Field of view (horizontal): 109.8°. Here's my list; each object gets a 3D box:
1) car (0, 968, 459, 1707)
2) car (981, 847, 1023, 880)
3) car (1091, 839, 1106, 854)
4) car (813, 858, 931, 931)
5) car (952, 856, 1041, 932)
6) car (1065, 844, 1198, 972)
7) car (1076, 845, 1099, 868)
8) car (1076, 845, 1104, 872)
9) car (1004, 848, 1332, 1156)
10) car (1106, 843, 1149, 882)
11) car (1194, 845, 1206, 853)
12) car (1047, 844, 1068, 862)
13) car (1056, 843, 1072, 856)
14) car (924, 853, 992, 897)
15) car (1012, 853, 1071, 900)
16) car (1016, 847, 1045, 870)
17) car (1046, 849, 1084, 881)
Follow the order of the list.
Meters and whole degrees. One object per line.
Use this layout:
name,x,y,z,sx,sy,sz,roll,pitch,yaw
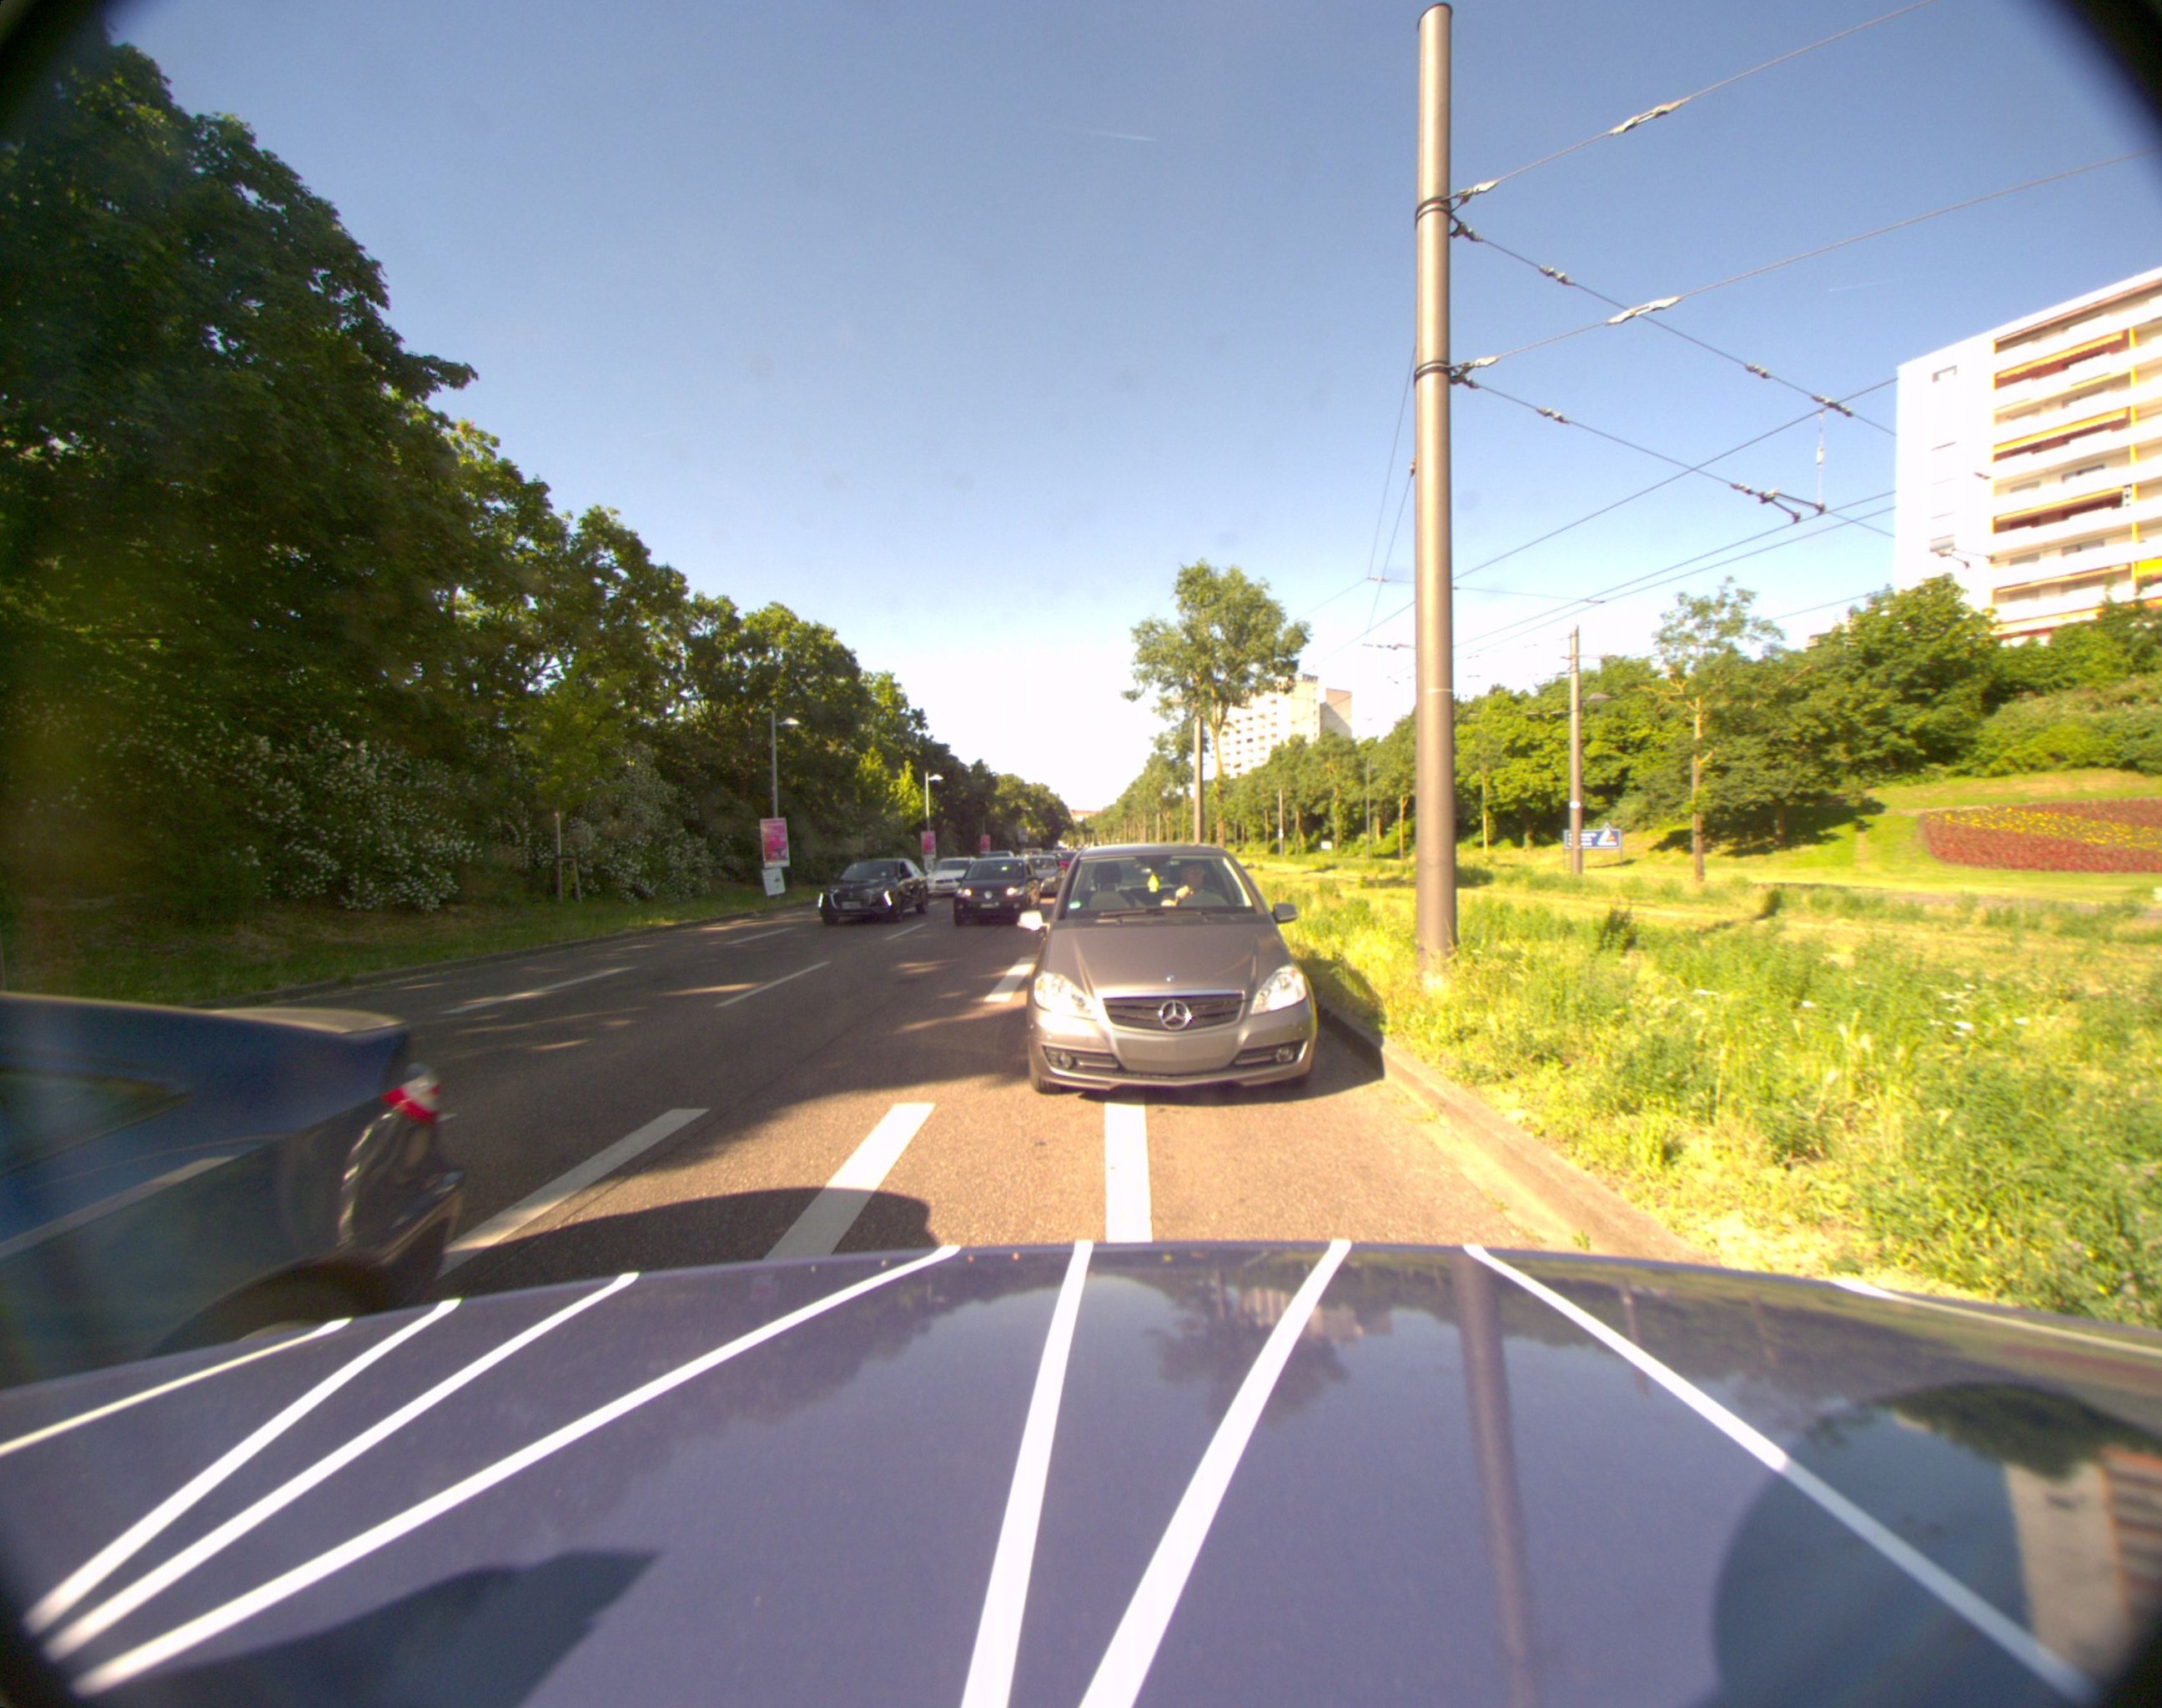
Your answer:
car,-2.766,1.084,0.237,1.723,1.411,4.049,-1,1,1
car,-4.114,0.448,40.103,1.749,1.652,4.000,-1,1,1
car,2.005,-0.852,86.958,1.630,1.556,3.812,-2,1,1
car,-5.018,0.914,18.820,1.713,1.485,3.963,-2,1,1
car,-1.851,0.846,17.574,1.621,1.485,3.452,-2,1,0
car,0.713,0.712,12.343,1.749,1.652,3.999,-2,1,1
car,0.516,0.162,60.309,1.749,1.652,3.999,-2,1,1
car,0.628,0.292,51.034,1.749,1.652,3.999,-2,1,1
car,0.511,0.805,6.189,1.749,1.631,4.000,-2,1,1
car,2.094,0.339,34.916,1.749,1.652,4.000,-1,1,1
car,21.396,-0.895,136.335,1.578,1.412,3.909,-2,0,1
car,-2.124,-0.139,69.572,1.652,1.521,3.895,-2,1,1
car,-1.933,-0.549,87.851,1.713,1.485,3.963,-2,1,1
car,-4.622,0.736,29.194,1.749,1.428,4.386,-2,1,2
car,-1.318,0.744,26.860,1.713,1.430,4.171,-2,1,1
car,-3.544,0.298,54.031,1.713,1.485,3.963,-2,1,1
car,-0.784,0.532,38.870,1.685,1.437,3.727,-2,1,2
